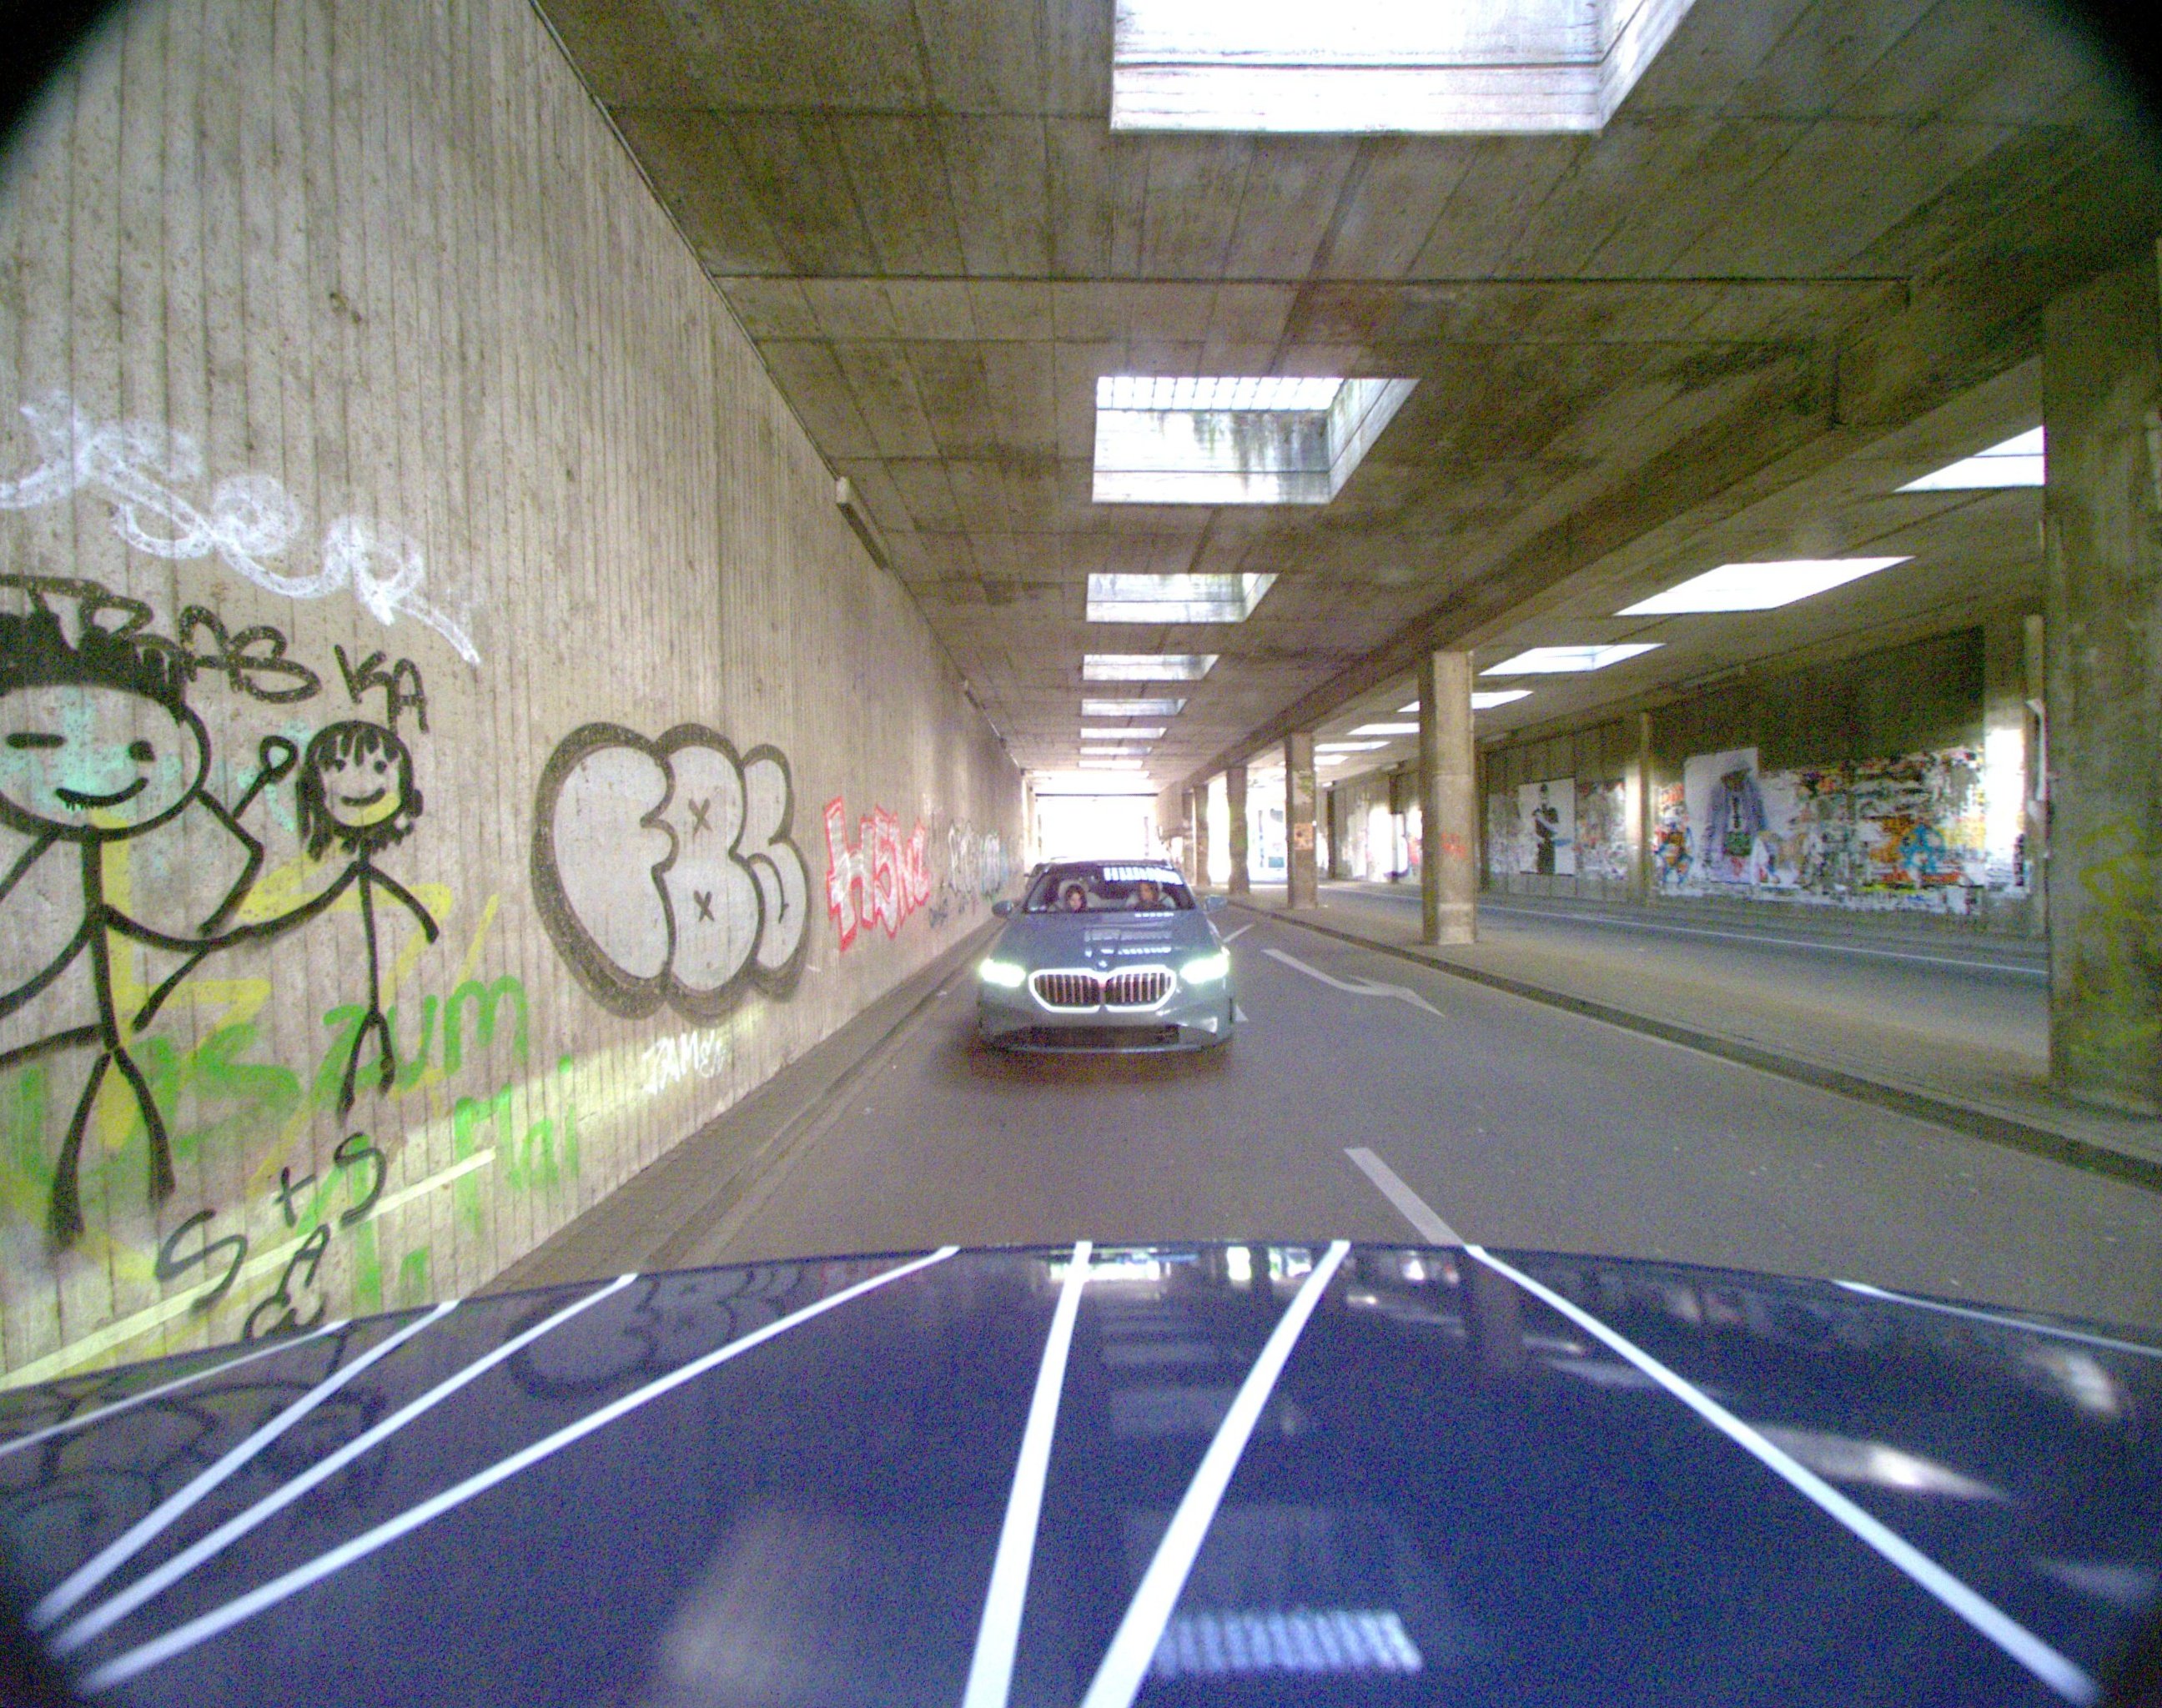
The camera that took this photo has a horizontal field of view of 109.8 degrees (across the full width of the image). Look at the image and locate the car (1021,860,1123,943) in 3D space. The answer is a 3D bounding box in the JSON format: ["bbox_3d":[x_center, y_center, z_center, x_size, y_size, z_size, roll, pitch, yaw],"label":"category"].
[{"bbox_3d":[-0.155,0.946,16.953,1.957,1.546,4.247,-1,0,1],"label":"car"}]

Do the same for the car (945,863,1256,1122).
[{"bbox_3d":[0.157,0.916,7.372,1.957,1.546,5.040,-1,0,1],"label":"car"}]

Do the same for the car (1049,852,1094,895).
[{"bbox_3d":[-0.325,0.723,30.009,1.616,1.546,4.013,-1,0,1],"label":"car"}]

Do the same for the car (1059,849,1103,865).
[{"bbox_3d":[0.015,0.285,75.730,4.006,1.543,1.930,-1,0,-30],"label":"car"}]

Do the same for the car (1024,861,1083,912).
[{"bbox_3d":[-0.780,0.942,23.833,1.616,1.367,4.199,-1,0,1],"label":"car"}]
